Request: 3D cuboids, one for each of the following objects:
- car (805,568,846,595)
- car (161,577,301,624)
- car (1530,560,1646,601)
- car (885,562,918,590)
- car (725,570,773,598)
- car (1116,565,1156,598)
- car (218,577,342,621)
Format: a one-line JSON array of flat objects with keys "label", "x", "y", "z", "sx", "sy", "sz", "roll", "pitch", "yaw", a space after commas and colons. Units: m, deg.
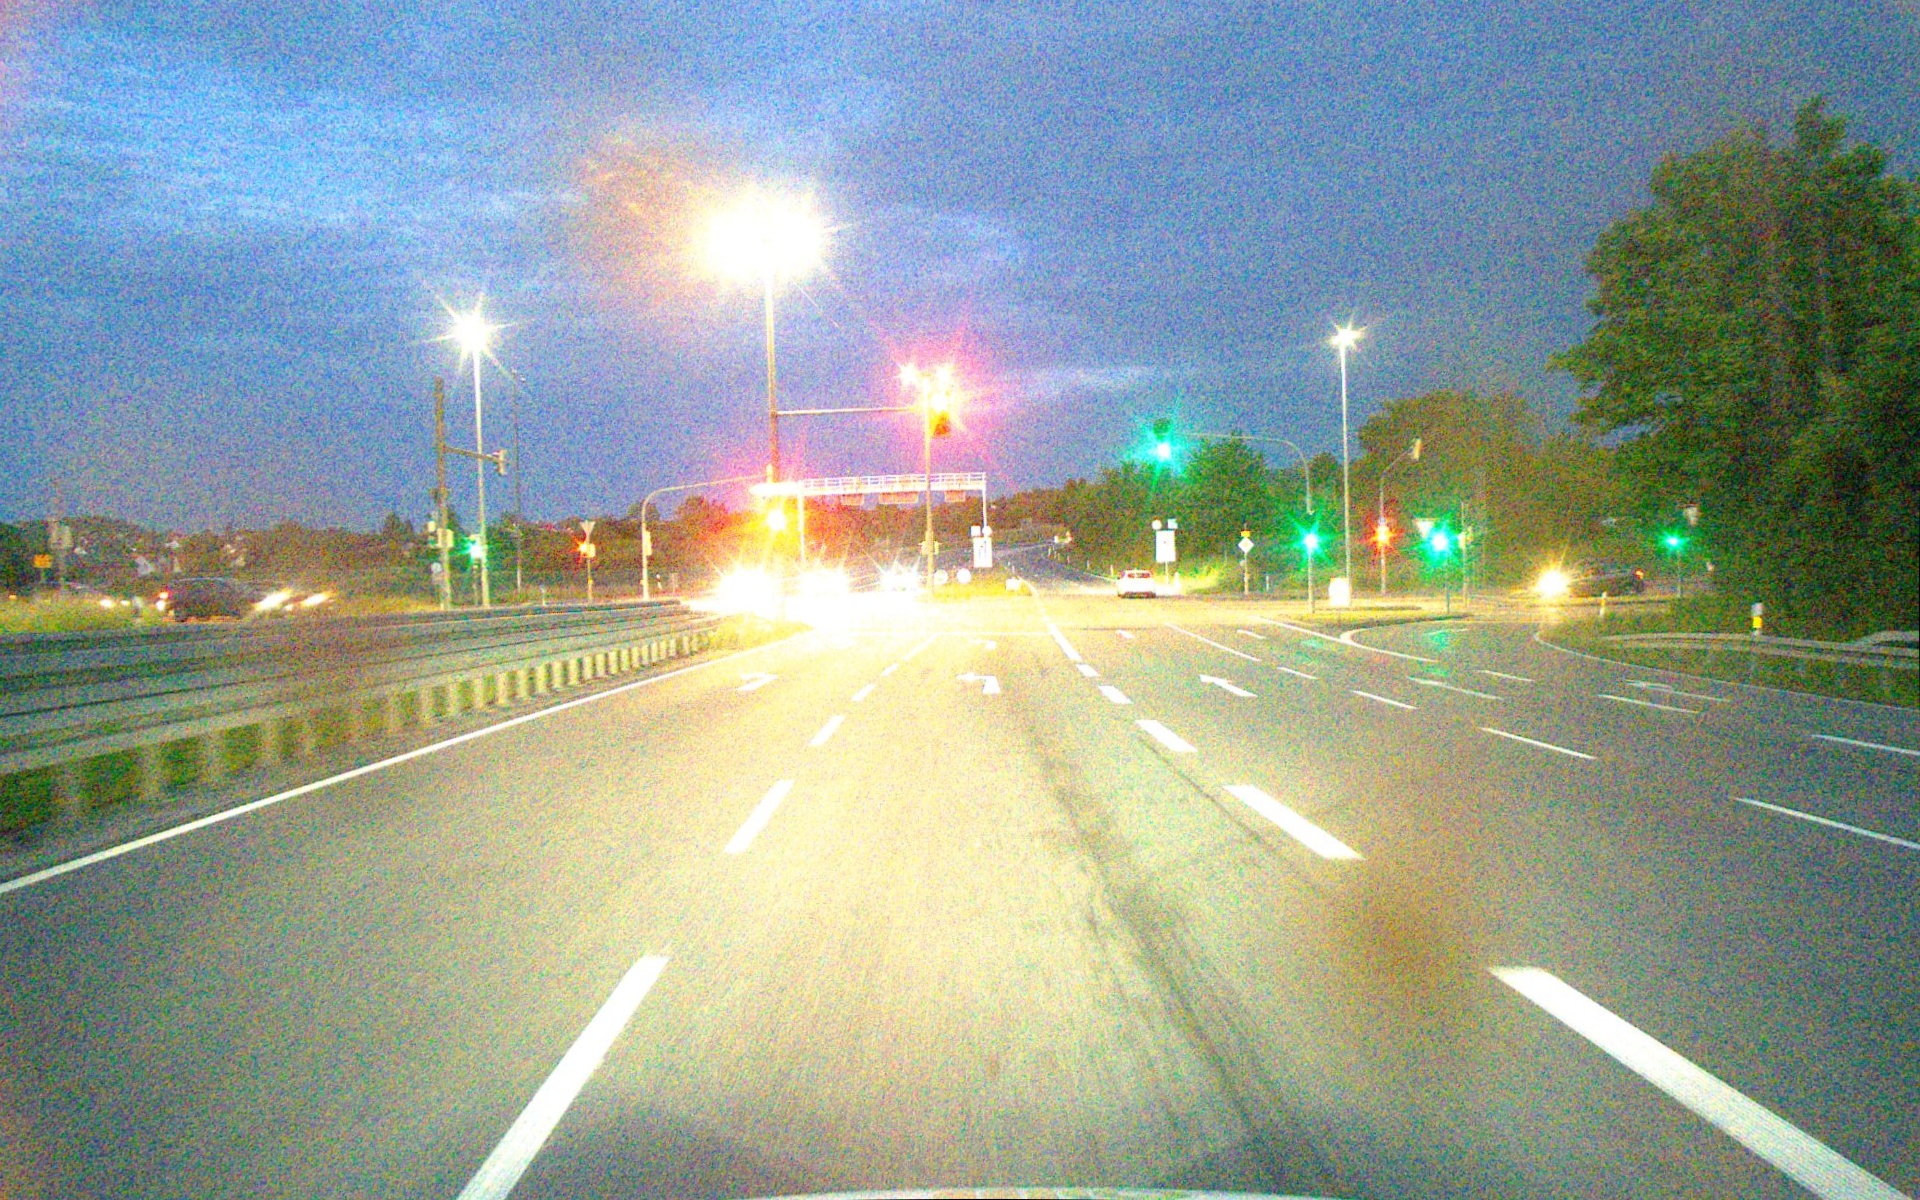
[{"label": "car", "x": -7.831, "y": -1.115, "z": 96.721, "sx": 1.952, "sy": 1.507, "sz": 4.683, "roll": -1, "pitch": 1, "yaw": 1}, {"label": "car", "x": -26.145, "y": -0.007, "z": 59.389, "sx": 4.224, "sy": 1.564, "sz": 1.730, "roll": -1, "pitch": 1, "yaw": 0}, {"label": "car", "x": 25.785, "y": -0.823, "z": 68.018, "sx": 3.991, "sy": 1.596, "sz": 2.002, "roll": -1, "pitch": 1, "yaw": -1}, {"label": "car", "x": -3.766, "y": -1.595, "z": 107.337, "sx": 1.952, "sy": 1.727, "sz": 4.001, "roll": -1, "pitch": 1, "yaw": 1}, {"label": "car", "x": -11.514, "y": -0.892, "z": 90.684, "sx": 1.952, "sy": 1.450, "sz": 4.533, "roll": -1, "pitch": 1, "yaw": 1}, {"label": "car", "x": 9.062, "y": -0.980, "z": 85.402, "sx": 1.965, "sy": 1.639, "sz": 3.848, "roll": 0, "pitch": 2, "yaw": 4}, {"label": "car", "x": -25.811, "y": -0.037, "z": 62.852, "sx": 3.958, "sy": 1.564, "sz": 1.729, "roll": -1, "pitch": 1, "yaw": -1}]
